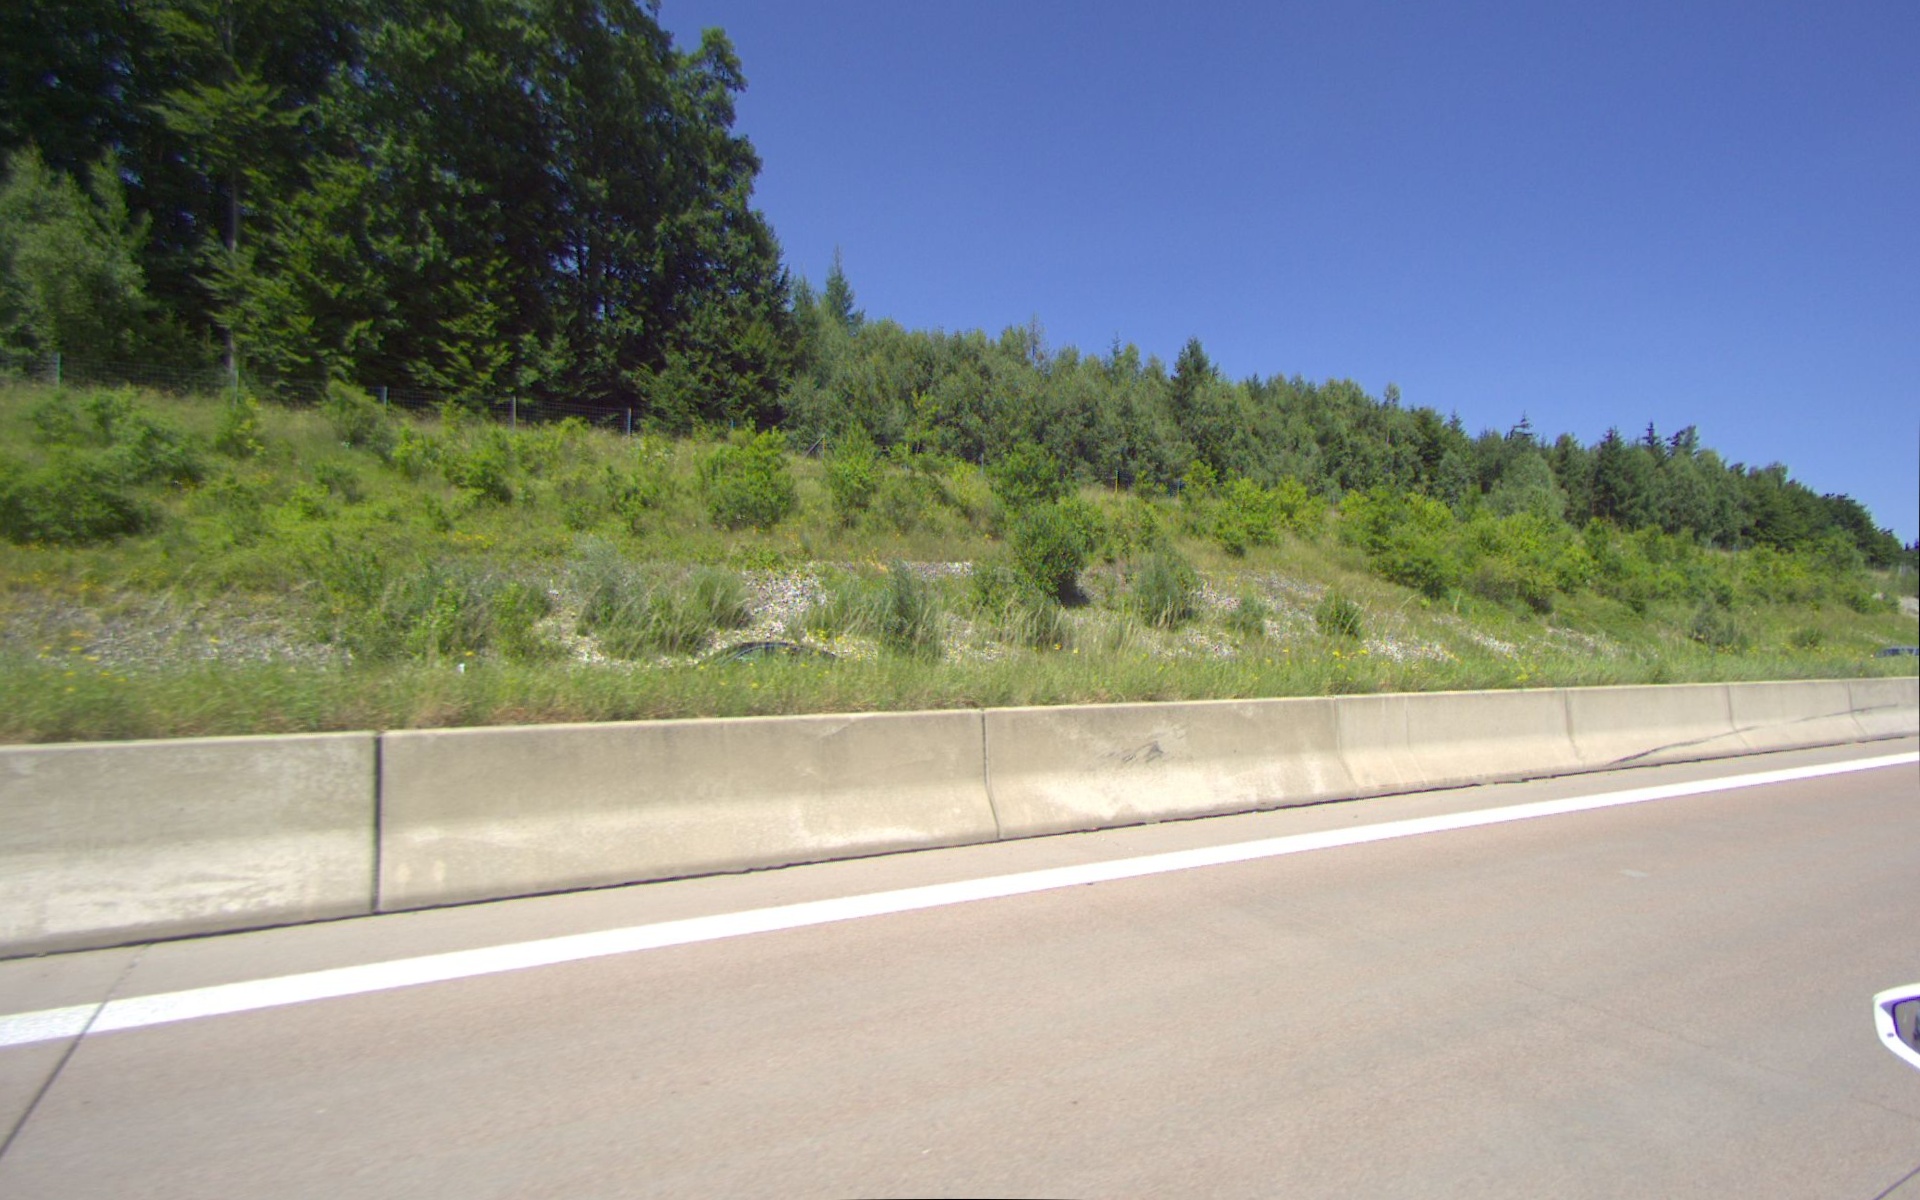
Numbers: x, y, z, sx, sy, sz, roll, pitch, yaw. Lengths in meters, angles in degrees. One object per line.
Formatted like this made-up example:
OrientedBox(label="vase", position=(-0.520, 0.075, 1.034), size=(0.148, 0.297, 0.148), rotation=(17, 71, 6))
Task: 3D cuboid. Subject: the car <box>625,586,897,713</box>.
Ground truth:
OrientedBox(label="car", position=(-3.633, 0.834, 18.628), size=(4.612, 2.092, 1.880), rotation=(1, 0, -33))
